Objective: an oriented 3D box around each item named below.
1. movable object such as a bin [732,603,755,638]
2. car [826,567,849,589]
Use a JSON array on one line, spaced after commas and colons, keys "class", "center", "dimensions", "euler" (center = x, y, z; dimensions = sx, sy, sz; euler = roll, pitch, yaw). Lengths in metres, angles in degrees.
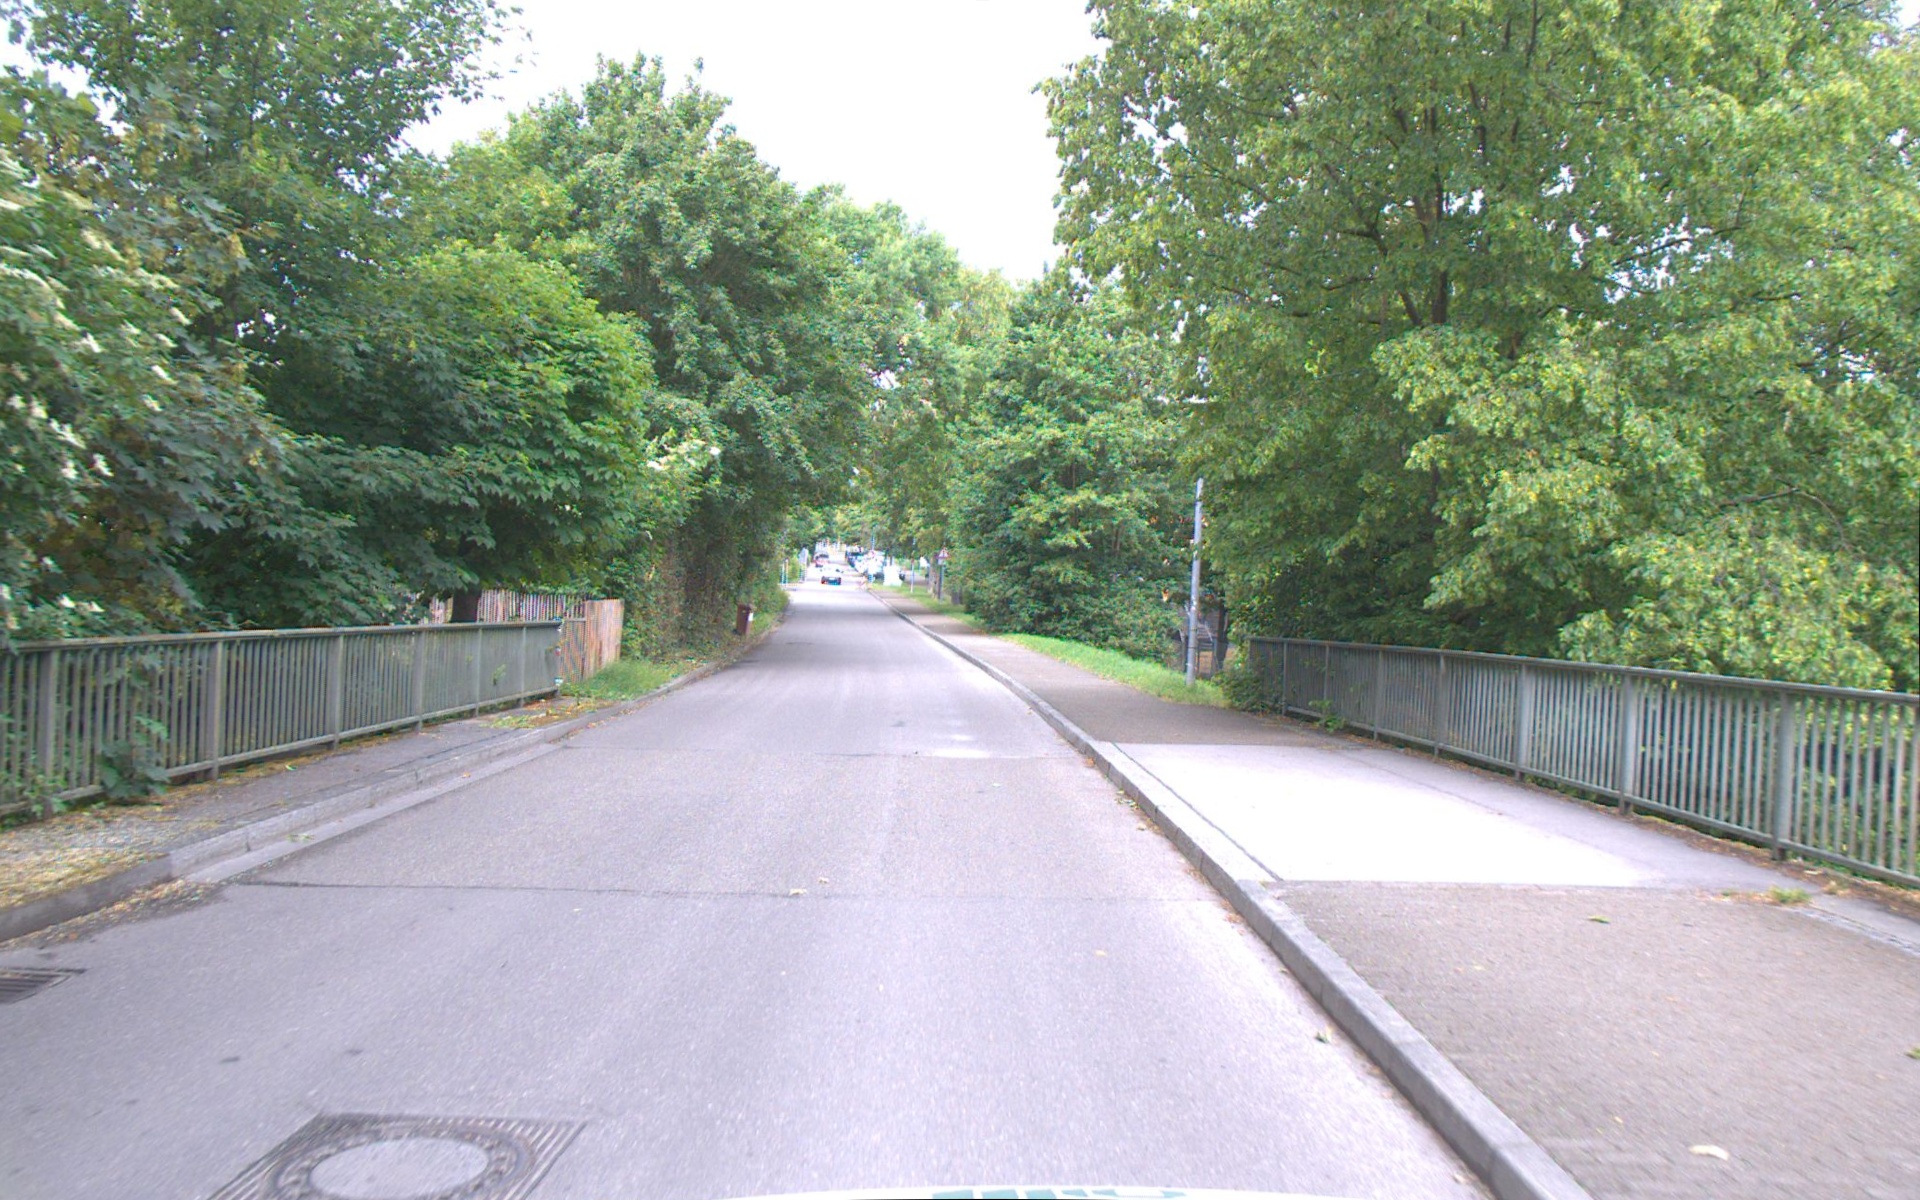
[{"class": "movable object such as a bin", "center": [-6.157, 0.579, 47.121], "dimensions": [0.578, 0.974, 0.469], "euler": [2, -1, -4]}, {"class": "car", "center": [-11.055, -1.972, 149.208], "dimensions": [1.954, 1.803, 3.997], "euler": [2, -1, -3]}]
